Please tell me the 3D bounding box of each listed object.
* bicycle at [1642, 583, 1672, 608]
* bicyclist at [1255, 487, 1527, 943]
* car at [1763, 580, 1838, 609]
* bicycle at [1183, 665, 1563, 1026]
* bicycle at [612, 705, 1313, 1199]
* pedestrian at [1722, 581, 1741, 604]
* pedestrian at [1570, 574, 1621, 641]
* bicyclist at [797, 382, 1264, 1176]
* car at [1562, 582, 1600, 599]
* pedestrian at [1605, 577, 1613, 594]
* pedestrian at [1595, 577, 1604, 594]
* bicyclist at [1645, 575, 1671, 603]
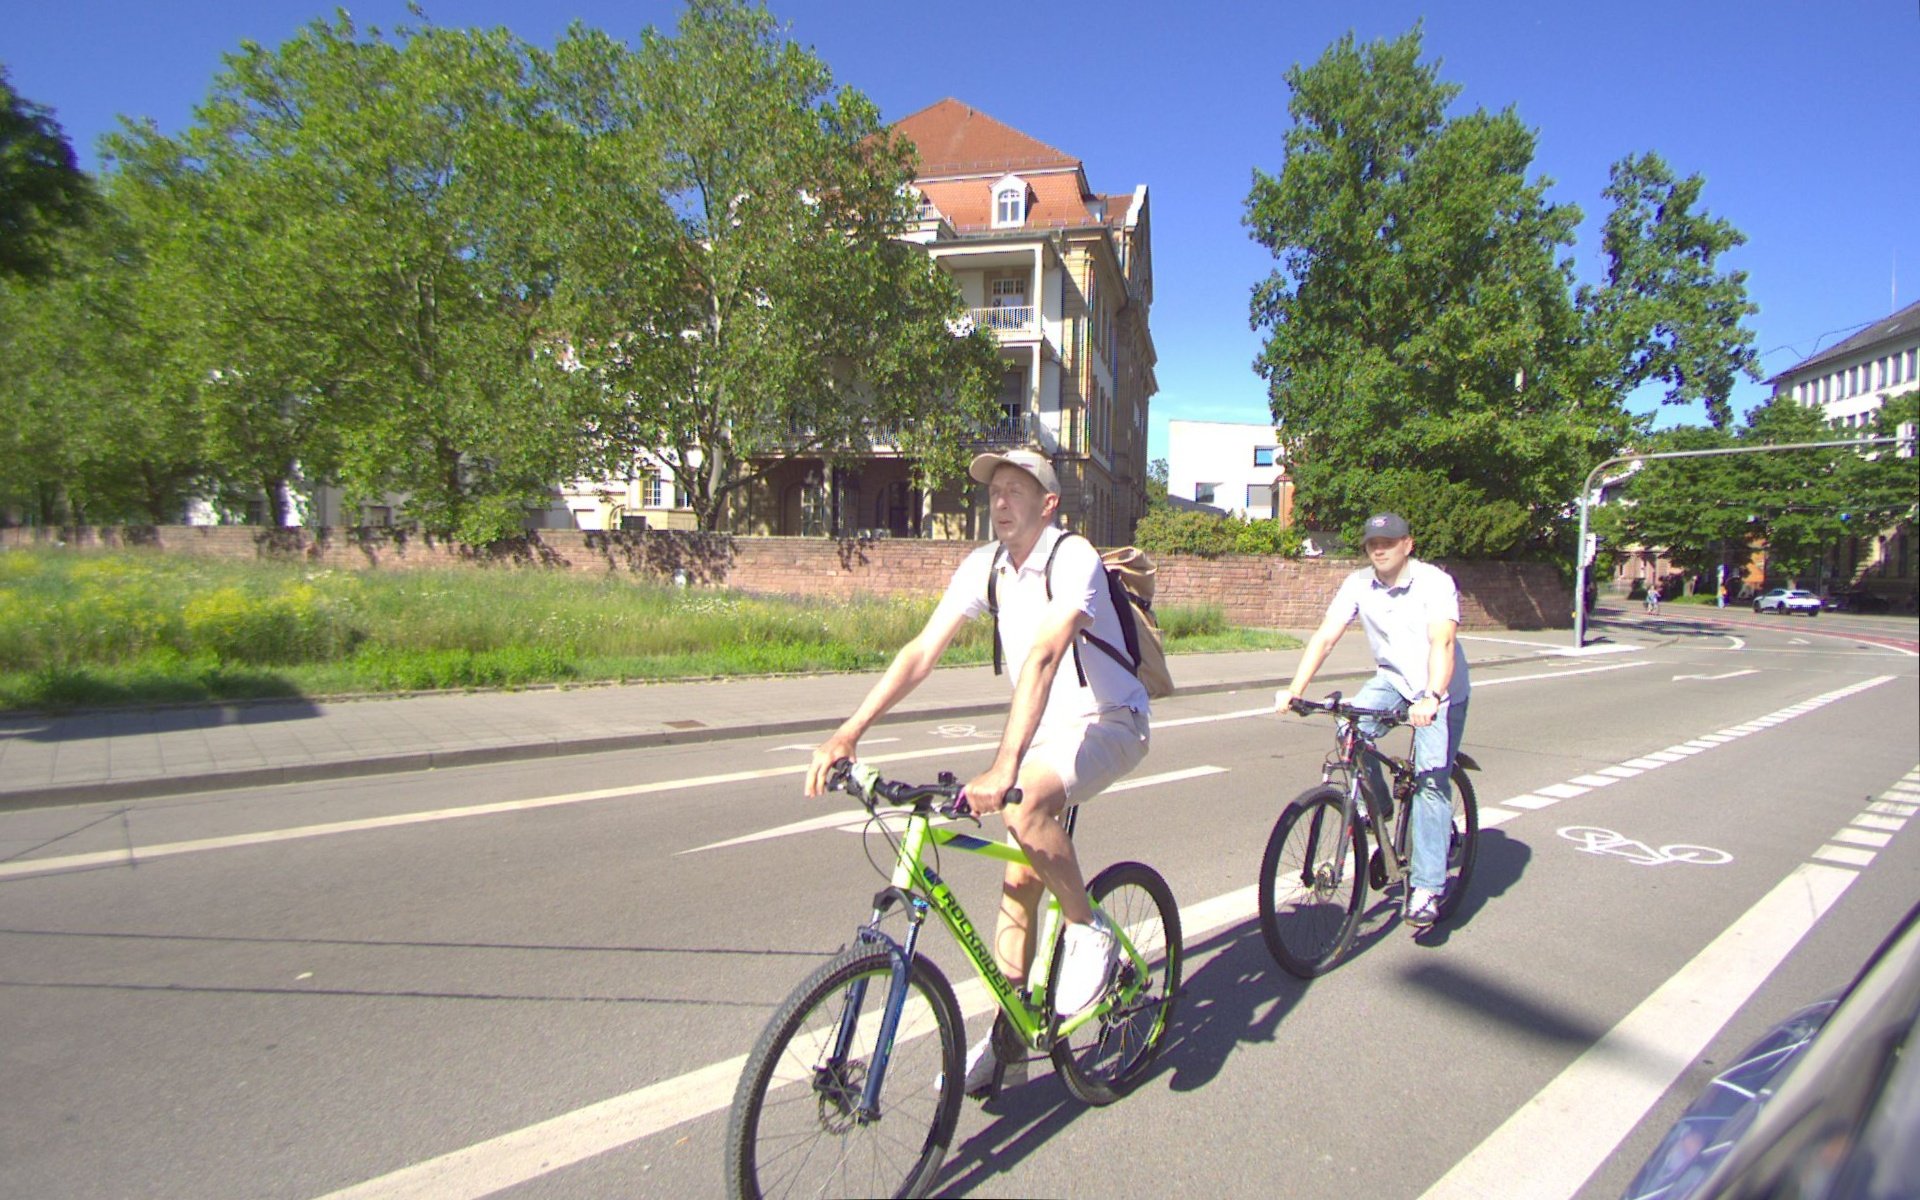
[{"bbox_3d":[40.258,-0.267,58.479,0.753,1.385,2.720,2,2,20],"label":"bicycle"},{"bbox_3d":[1.838,0.414,4.316,0.851,1.695,0.741,0,2,-42],"label":"bicyclist"},{"bbox_3d":[51.405,-0.362,61.984,1.821,1.571,4.317,3,3,15],"label":"car"},{"bbox_3d":[1.830,0.889,4.327,1.870,1.063,0.749,0,2,-42],"label":"bicycle"},{"bbox_3d":[0.129,0.897,2.581,1.812,1.064,0.672,0,0,-42],"label":"bicycle"},{"bbox_3d":[61.407,-0.590,80.532,0.745,1.835,0.978,1,1,9],"label":"pedestrian"},{"bbox_3d":[18.533,0.207,29.532,0.717,1.872,0.962,0,3,-36],"label":"pedestrian"},{"bbox_3d":[0.208,0.356,2.655,1.062,1.603,0.675,0,0,-41],"label":"bicyclist"},{"bbox_3d":[58.952,-0.913,96.150,1.822,1.504,4.149,2,2,14],"label":"car"},{"bbox_3d":[69.789,-1.539,108.842,0.752,1.836,0.968,1,-3,33],"label":"pedestrian"},{"bbox_3d":[68.808,-1.550,108.920,0.752,1.836,0.968,1,-3,33],"label":"pedestrian"},{"bbox_3d":[40.232,-0.664,58.362,0.859,1.579,1.272,2,2,20],"label":"bicyclist"}]
